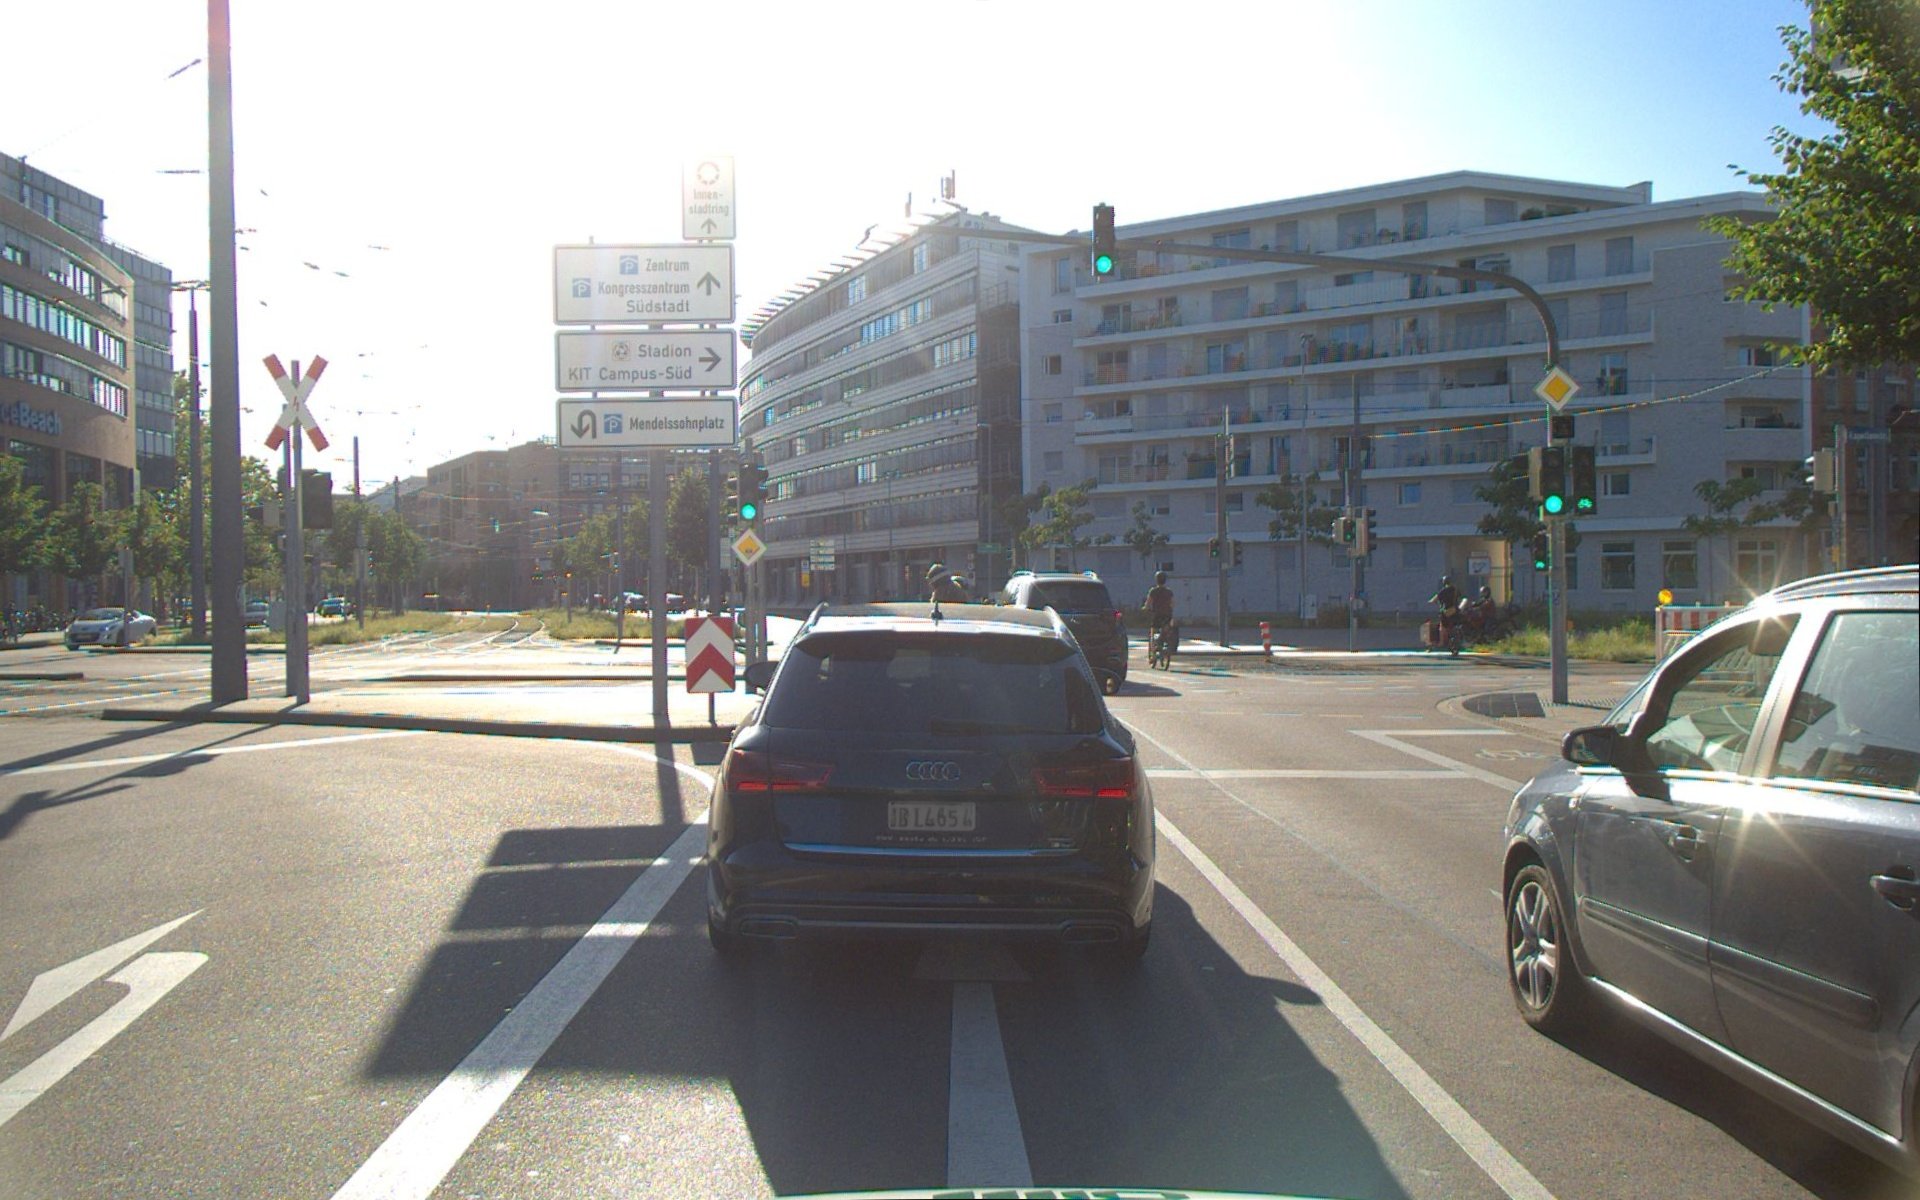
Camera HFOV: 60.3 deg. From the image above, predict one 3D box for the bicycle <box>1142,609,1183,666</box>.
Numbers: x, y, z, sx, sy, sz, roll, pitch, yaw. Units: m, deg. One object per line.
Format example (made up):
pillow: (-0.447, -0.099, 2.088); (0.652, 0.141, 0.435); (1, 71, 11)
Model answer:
bicycle: (4.005, 0.730, 32.799); (0.640, 1.061, 1.930); (-1, 1, 2)

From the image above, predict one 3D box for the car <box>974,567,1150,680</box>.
car: (1.617, 0.348, 27.983); (1.967, 1.745, 4.361); (1, 1, -11)

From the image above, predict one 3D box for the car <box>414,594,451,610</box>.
car: (-57.815, 0.177, 181.258); (1.951, 1.668, 4.416); (-1, 0, 11)

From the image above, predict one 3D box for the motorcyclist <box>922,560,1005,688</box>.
motorcyclist: (0.030, 0.253, 17.902); (0.845, 1.349, 0.681); (-1, 0, -3)

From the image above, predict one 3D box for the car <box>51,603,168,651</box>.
car: (-30.061, 0.918, 58.604); (1.953, 1.572, 4.528); (-1, 1, -3)

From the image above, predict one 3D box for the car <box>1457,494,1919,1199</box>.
car: (2.882, 0.655, 4.506); (1.710, 1.725, 4.260); (1, 0, -1)

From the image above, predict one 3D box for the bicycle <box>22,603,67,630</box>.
bicycle: (-51.005, 0.928, 92.167); (2.092, 1.458, 0.759); (-2, -1, 7)

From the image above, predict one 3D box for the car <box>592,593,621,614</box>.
car: (-30.611, 0.327, 143.062); (1.964, 1.736, 3.978); (-1, 0, -19)

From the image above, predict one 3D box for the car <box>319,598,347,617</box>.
car: (-56.173, 0.647, 148.189); (1.961, 1.668, 4.393); (-1, 0, -16)

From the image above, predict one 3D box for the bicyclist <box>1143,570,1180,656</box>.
bicyclist: (3.990, 0.242, 32.793); (0.640, 1.671, 0.972); (-1, 1, 2)

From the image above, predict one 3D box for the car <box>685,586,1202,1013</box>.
car: (-0.098, 0.691, 7.838); (1.805, 1.479, 3.999); (1, 1, -1)

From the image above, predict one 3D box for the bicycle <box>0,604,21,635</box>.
bicycle: (-46.452, 0.953, 79.248); (2.507, 1.458, 0.905); (-2, -1, 7)

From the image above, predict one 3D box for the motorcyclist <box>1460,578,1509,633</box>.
motorcyclist: (14.726, 0.146, 46.449); (0.907, 1.507, 1.169); (-1, 0, -8)

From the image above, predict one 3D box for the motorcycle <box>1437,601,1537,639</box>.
motorcycle: (14.778, 0.543, 46.454); (2.407, 1.018, 1.169); (-1, 0, -8)

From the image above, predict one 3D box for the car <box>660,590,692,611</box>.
car: (-23.322, 0.066, 135.605); (1.964, 1.624, 3.977); (-1, 0, -19)

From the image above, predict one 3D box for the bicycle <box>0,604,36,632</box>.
bicycle: (-50.512, 0.974, 87.859); (2.551, 1.458, 0.772); (-2, -1, 7)

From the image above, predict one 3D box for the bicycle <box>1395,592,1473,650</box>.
bicycle: (10.914, 0.479, 38.147); (0.753, 1.284, 2.073); (-1, 0, -16)

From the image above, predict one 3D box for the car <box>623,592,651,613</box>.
car: (-26.946, 0.219, 137.962); (1.961, 1.624, 3.982); (-2, 0, -16)

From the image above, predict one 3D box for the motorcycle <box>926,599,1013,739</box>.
motorcycle: (0.079, 0.706, 17.941); (0.845, 1.417, 1.893); (-1, 0, -3)

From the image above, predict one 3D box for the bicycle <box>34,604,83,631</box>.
bicycle: (-50.891, 0.989, 93.400); (2.369, 1.458, 0.789); (-2, -1, 7)

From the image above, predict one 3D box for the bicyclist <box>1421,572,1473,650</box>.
bicyclist: (11.069, 0.240, 37.595); (0.753, 1.736, 0.926); (-1, 0, -16)

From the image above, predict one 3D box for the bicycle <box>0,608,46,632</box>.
bicycle: (-50.696, 1.081, 89.283); (2.362, 1.257, 0.745); (-2, -1, 7)

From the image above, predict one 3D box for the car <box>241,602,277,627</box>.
car: (-44.300, 0.904, 104.447); (1.871, 1.431, 3.966); (-2, 1, -26)

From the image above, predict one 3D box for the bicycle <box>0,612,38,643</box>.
bicycle: (-46.883, 1.355, 81.486); (2.507, 1.458, 0.905); (-2, -1, 7)
